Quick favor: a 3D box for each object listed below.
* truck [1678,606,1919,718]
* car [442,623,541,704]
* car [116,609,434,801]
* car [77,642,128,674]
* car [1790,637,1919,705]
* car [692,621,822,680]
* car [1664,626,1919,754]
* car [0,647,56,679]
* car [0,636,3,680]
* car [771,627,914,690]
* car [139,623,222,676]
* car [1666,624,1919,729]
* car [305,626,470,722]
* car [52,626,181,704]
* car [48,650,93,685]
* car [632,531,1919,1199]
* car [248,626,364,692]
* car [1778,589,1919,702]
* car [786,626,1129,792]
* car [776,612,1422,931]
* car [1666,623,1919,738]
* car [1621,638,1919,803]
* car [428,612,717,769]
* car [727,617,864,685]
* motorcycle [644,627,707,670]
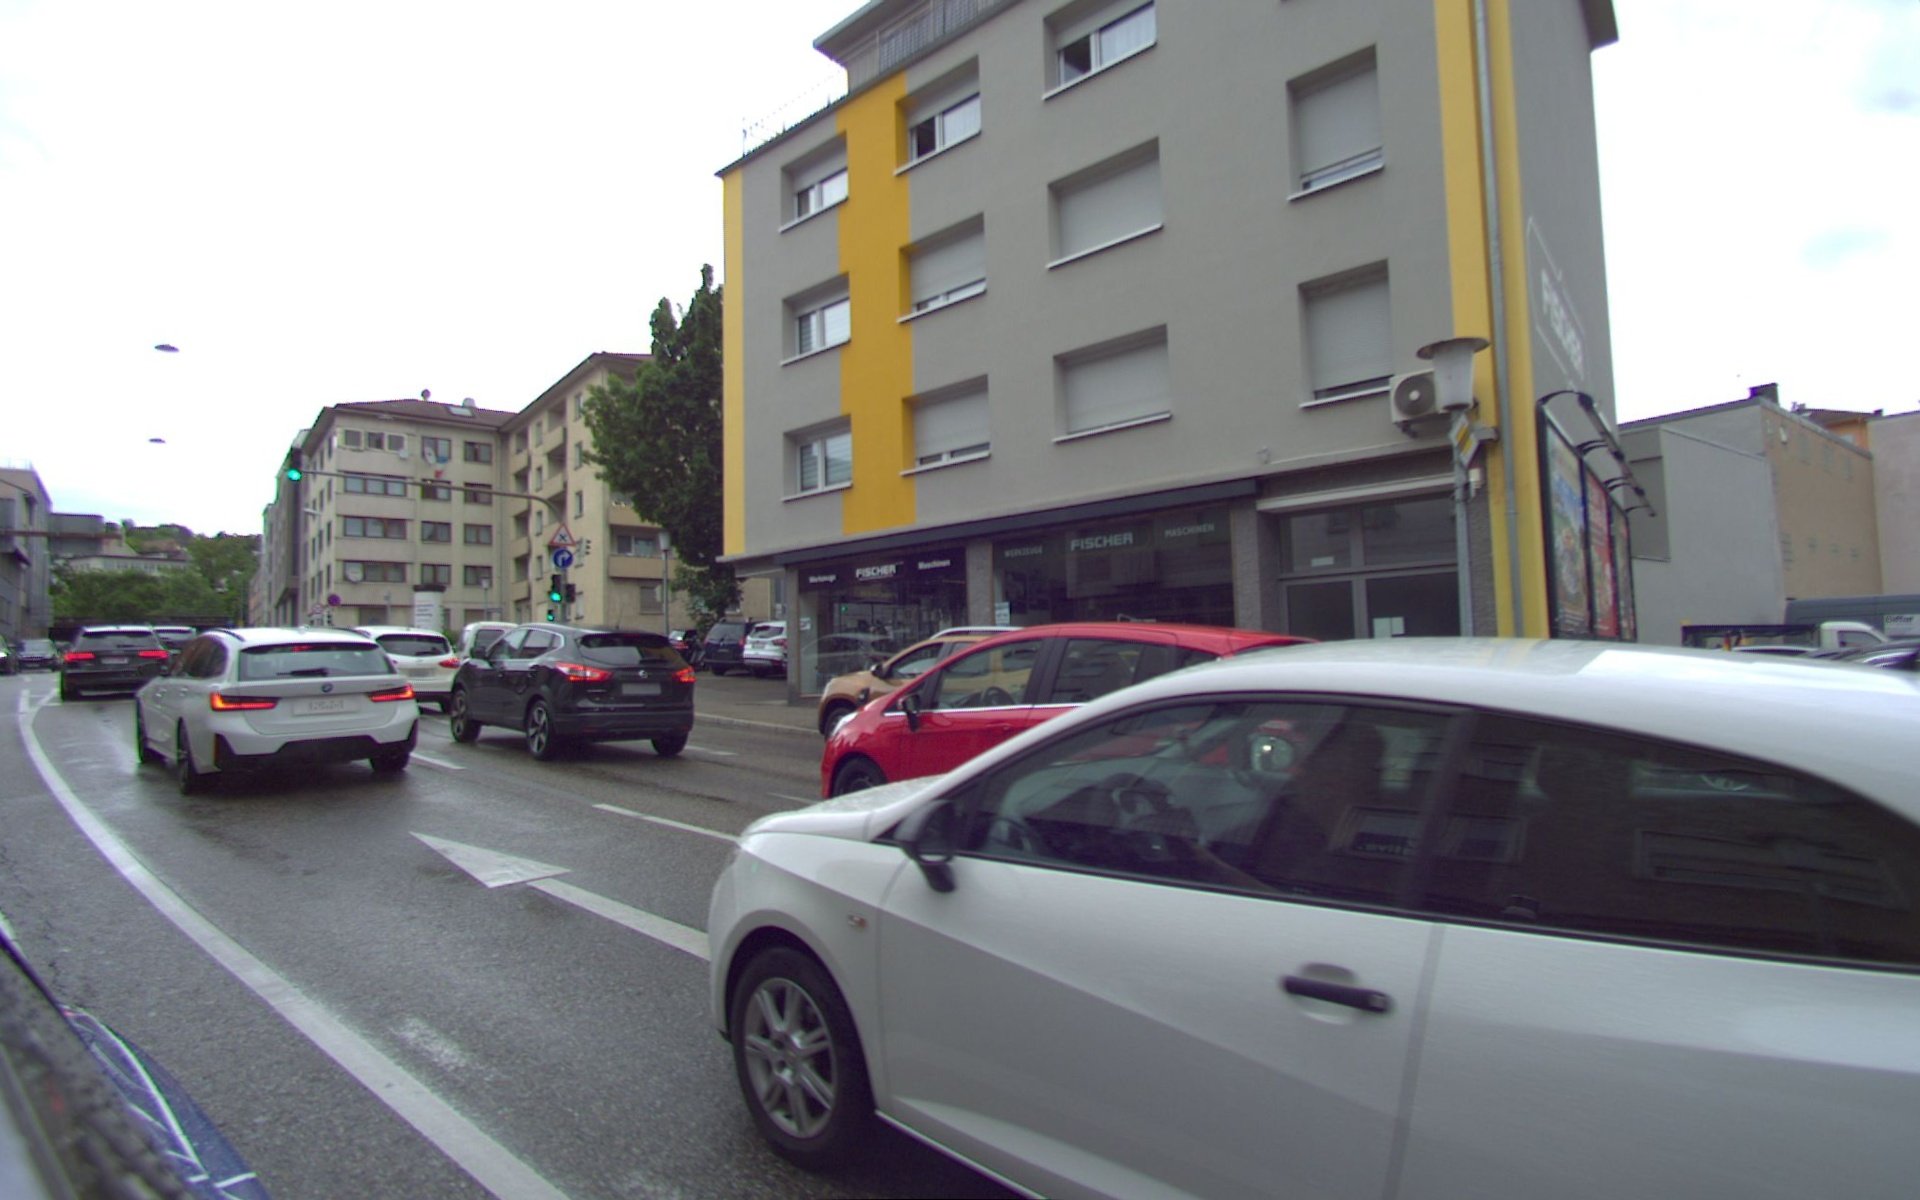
[{"bbox_3d":[17.032,1.253,20.048,4.225,1.987,1.696,-8,-6,44],"label":"truck"},{"bbox_3d":[-12.375,1.655,26.598,1.704,1.843,4.072,7,-6,-32],"label":"car"},{"bbox_3d":[-7.146,0.900,10.338,4.563,1.533,1.786,-1,-3,44],"label":"car"},{"bbox_3d":[-43.871,2.967,51.846,1.811,1.566,4.008,1,-4,-38],"label":"car"},{"bbox_3d":[19.174,1.459,20.913,1.301,1.285,2.849,0,-6,-40],"label":"car"},{"bbox_3d":[-6.439,1.575,32.538,1.765,1.741,4.305,1,-1,28],"label":"car"},{"bbox_3d":[11.243,1.071,12.671,3.851,1.475,1.674,-2,-2,40],"label":"car"},{"bbox_3d":[-48.166,3.277,52.344,1.811,1.566,4.008,1,-4,-38],"label":"car"},{"bbox_3d":[-33.559,2.000,34.076,1.848,1.453,4.002,1,-4,-44],"label":"car"},{"bbox_3d":[-3.270,1.602,28.809,1.858,1.507,3.951,0,1,36],"label":"car"},{"bbox_3d":[-25.137,1.555,32.574,1.797,1.548,4.385,2,-2,-41],"label":"car"},{"bbox_3d":[15.147,1.409,18.273,1.654,1.684,3.550,1,-6,-43],"label":"car"},{"bbox_3d":[-10.679,1.333,18.727,1.784,1.554,4.384,2,-4,-41],"label":"car"},{"bbox_3d":[-17.544,1.272,20.970,1.785,1.425,4.383,3,-3,-43],"label":"car"},{"bbox_3d":[-51.085,3.907,58.174,1.766,1.741,4.006,0,-6,-39],"label":"car"},{"bbox_3d":[1.155,0.670,2.264,4.290,1.491,1.680,-1,0,42],"label":"car"},{"bbox_3d":[-16.447,1.481,25.359,1.797,1.489,4.384,2,-4,-41],"label":"car"},{"bbox_3d":[23.454,1.020,24.131,2.099,2.578,5.640,0,-6,-39],"label":"car"},{"bbox_3d":[-0.137,1.164,11.955,3.926,1.622,1.638,-1,-4,41],"label":"car"},{"bbox_3d":[0.723,0.910,6.925,4.130,1.527,1.721,-1,-5,43],"label":"car"},{"bbox_3d":[12.855,1.198,15.038,3.566,1.527,1.714,-8,-6,43],"label":"car"},{"bbox_3d":[9.275,1.123,9.843,4.656,1.466,1.675,-2,-2,37],"label":"car"},{"bbox_3d":[-5.039,1.051,12.817,1.785,1.644,4.346,6,-5,-44],"label":"car"},{"bbox_3d":[-4.910,1.488,30.685,1.856,1.807,3.953,-2,-1,34],"label":"car"},{"bbox_3d":[-9.113,1.554,32.459,0.539,1.339,1.965,-4,-3,42],"label":"motorcycle"}]
